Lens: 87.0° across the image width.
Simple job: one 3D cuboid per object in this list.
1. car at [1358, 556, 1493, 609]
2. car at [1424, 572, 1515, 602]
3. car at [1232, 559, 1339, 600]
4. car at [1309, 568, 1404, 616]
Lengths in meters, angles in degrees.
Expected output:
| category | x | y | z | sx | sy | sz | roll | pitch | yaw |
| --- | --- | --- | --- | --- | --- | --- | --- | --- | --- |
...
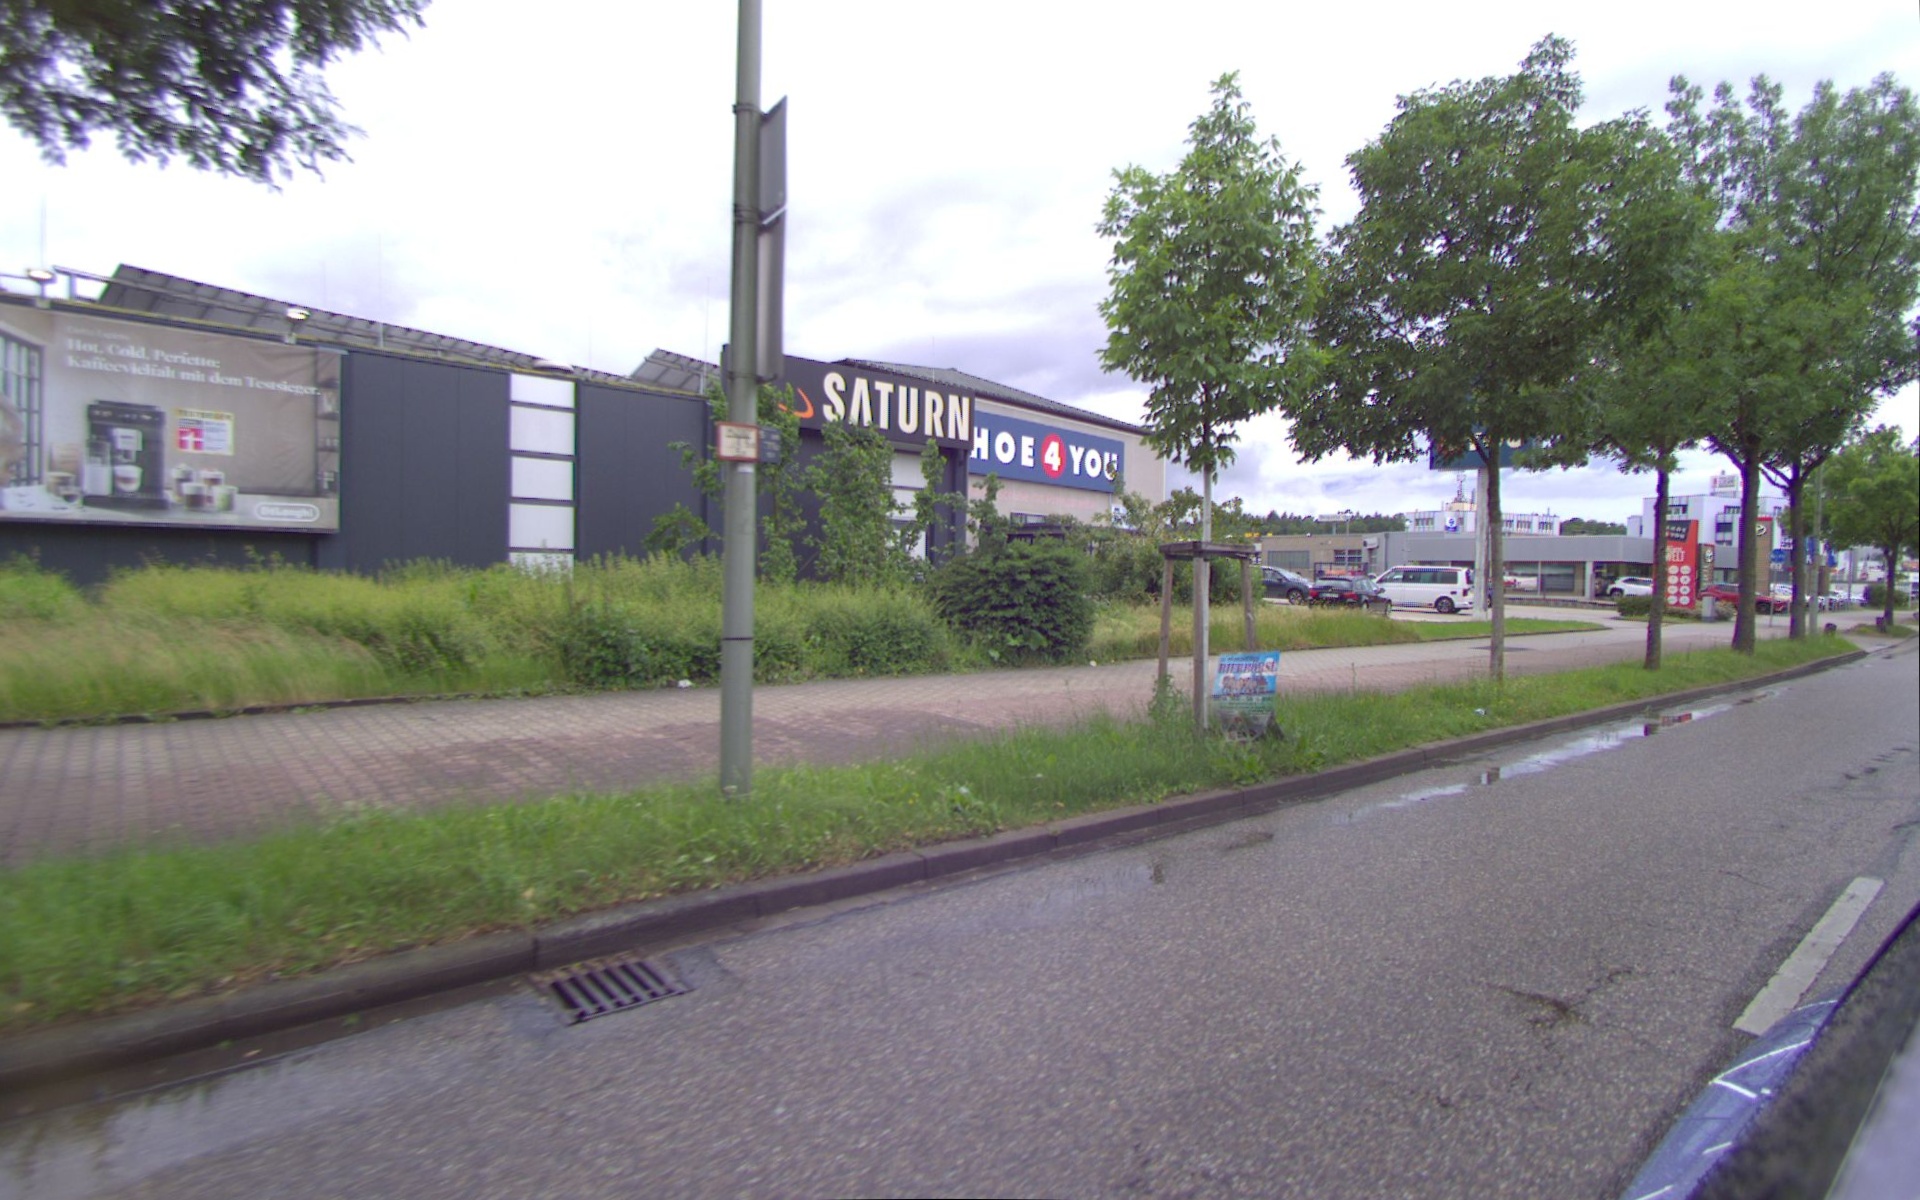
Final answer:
| category | x | y | z | sx | sy | sz | roll | pitch | yaw |
| --- | --- | --- | --- | --- | --- | --- | --- | --- | --- |
| car | 20.159 | -0.792 | 43.927 | 4.939 | 2.038 | 1.973 | 4 | 3 | 38 |
| car | 26.715 | -0.693 | 53.110 | 3.980 | 1.415 | 1.653 | 3 | 2 | 38 |
| car | 15.431 | -0.991 | 48.088 | 4.434 | 1.784 | 1.972 | 4 | 3 | 40 |
| car | 13.253 | -0.290 | 33.700 | 1.747 | 1.430 | 4.078 | 4 | 3 | 39 |
